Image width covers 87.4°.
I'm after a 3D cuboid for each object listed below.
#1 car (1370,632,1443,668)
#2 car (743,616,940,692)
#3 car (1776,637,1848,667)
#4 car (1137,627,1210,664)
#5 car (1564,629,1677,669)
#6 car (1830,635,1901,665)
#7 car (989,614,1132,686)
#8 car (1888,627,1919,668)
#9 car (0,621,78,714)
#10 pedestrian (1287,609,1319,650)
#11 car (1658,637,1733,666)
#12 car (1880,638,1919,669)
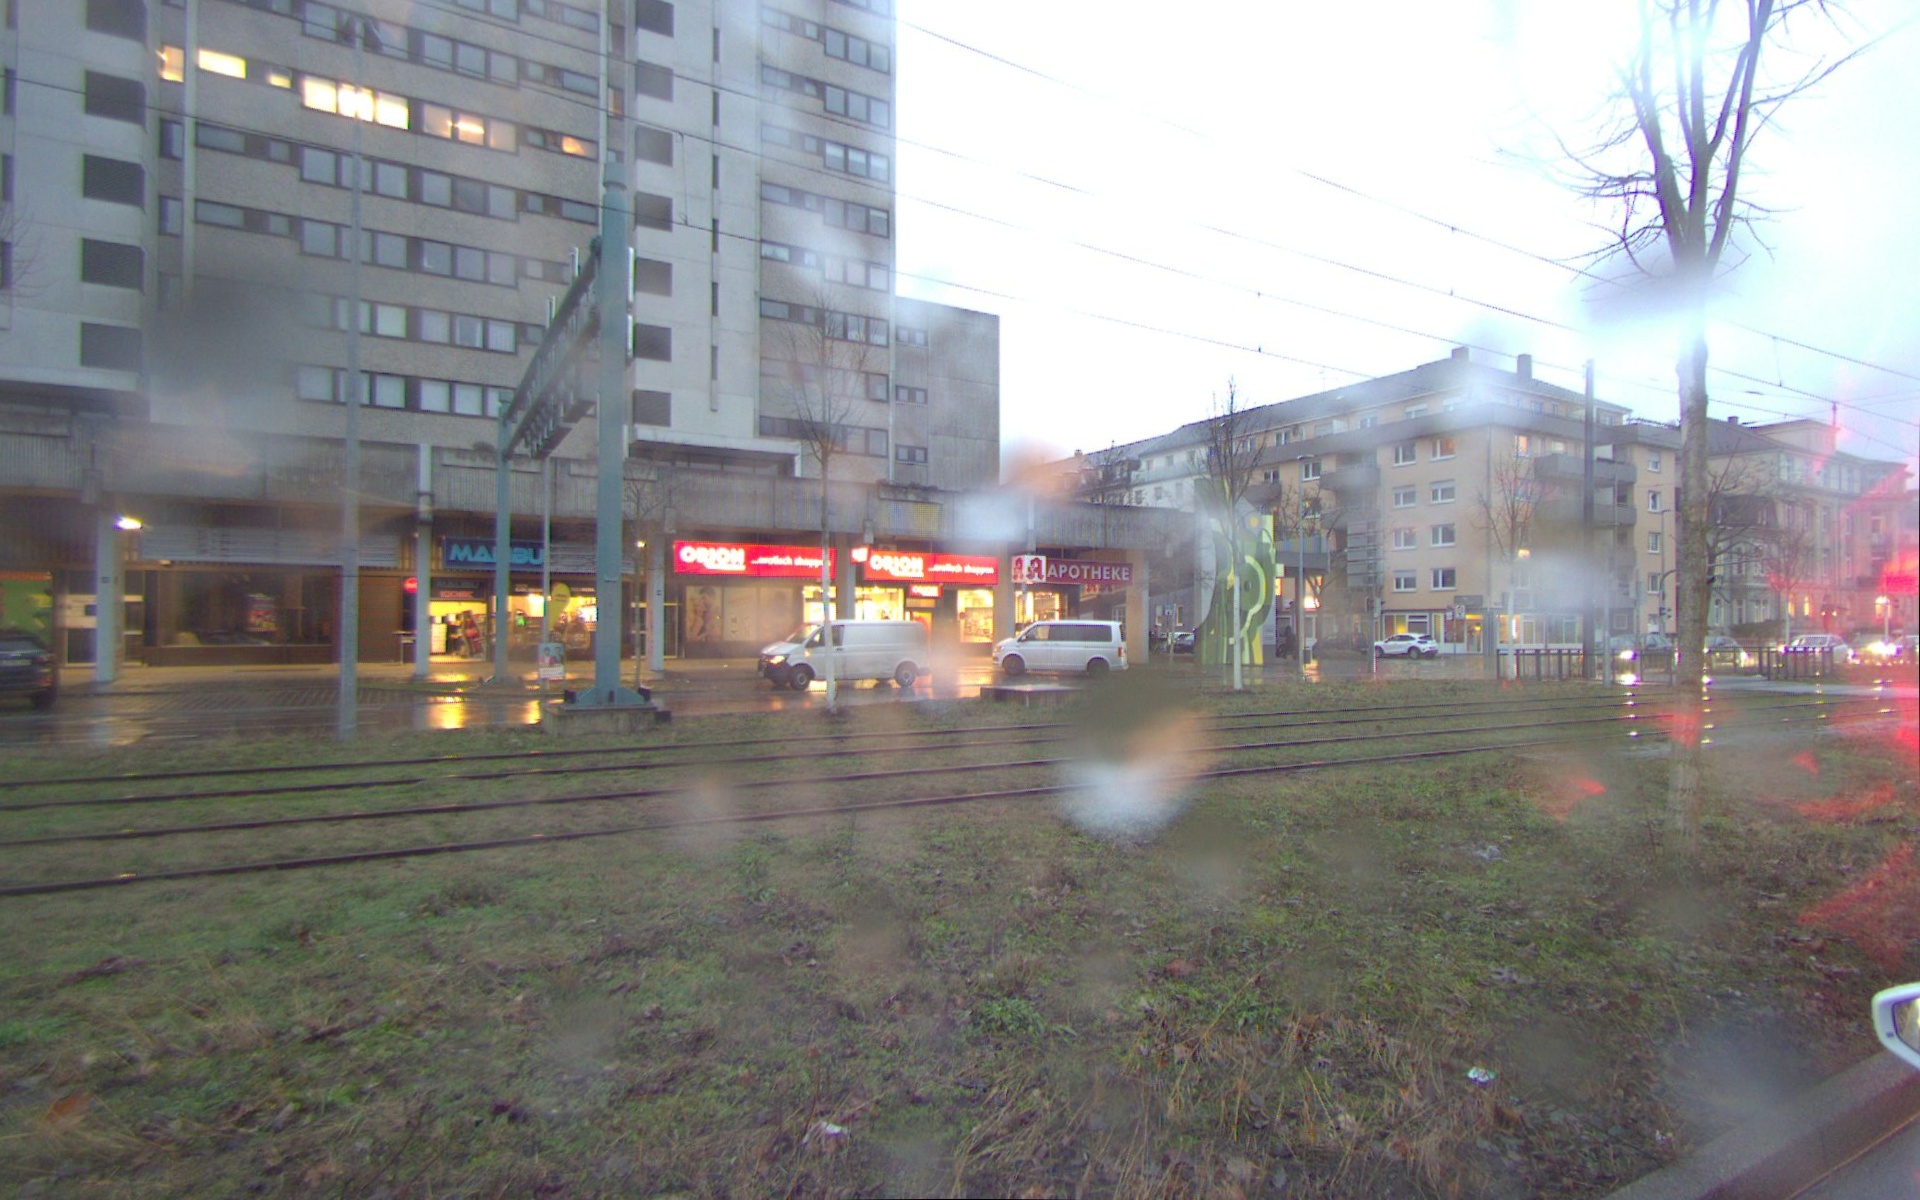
[{"bbox_3d":[27.828,3.086,62.659,1.825,1.968,3.720,1,0,-37],"label":"car"},{"bbox_3d":[-3.511,1.582,29.982,5.490,2.073,1.987,2,0,-26],"label":"car"},{"bbox_3d":[39.912,2.407,47.047,4.108,1.294,1.679,2,-2,-36],"label":"car"},{"bbox_3d":[12.384,2.626,58.178,3.830,2.040,1.884,2,0,-31],"label":"car"},{"bbox_3d":[24.738,1.809,37.598,4.265,1.350,1.850,2,0,-30],"label":"car"},{"bbox_3d":[53.160,2.925,58.965,3.952,1.623,1.941,2,0,-30],"label":"car"},{"bbox_3d":[3.574,1.705,35.496,4.734,2.274,2.001,2,0,15],"label":"car"},{"bbox_3d":[40.798,1.987,41.923,3.954,1.623,1.983,2,0,-31],"label":"car"},{"bbox_3d":[-20.781,1.370,21.193,4.067,1.715,1.982,2,0,28],"label":"car"},{"bbox_3d":[17.176,1.460,50.268,1.253,2.040,1.004,-1,-1,37],"label":"pedestrian"},{"bbox_3d":[35.051,2.434,47.855,3.495,1.294,1.682,1,-1,-31],"label":"car"},{"bbox_3d":[51.574,2.862,54.152,3.953,1.598,1.858,1,-1,-30],"label":"car"}]
